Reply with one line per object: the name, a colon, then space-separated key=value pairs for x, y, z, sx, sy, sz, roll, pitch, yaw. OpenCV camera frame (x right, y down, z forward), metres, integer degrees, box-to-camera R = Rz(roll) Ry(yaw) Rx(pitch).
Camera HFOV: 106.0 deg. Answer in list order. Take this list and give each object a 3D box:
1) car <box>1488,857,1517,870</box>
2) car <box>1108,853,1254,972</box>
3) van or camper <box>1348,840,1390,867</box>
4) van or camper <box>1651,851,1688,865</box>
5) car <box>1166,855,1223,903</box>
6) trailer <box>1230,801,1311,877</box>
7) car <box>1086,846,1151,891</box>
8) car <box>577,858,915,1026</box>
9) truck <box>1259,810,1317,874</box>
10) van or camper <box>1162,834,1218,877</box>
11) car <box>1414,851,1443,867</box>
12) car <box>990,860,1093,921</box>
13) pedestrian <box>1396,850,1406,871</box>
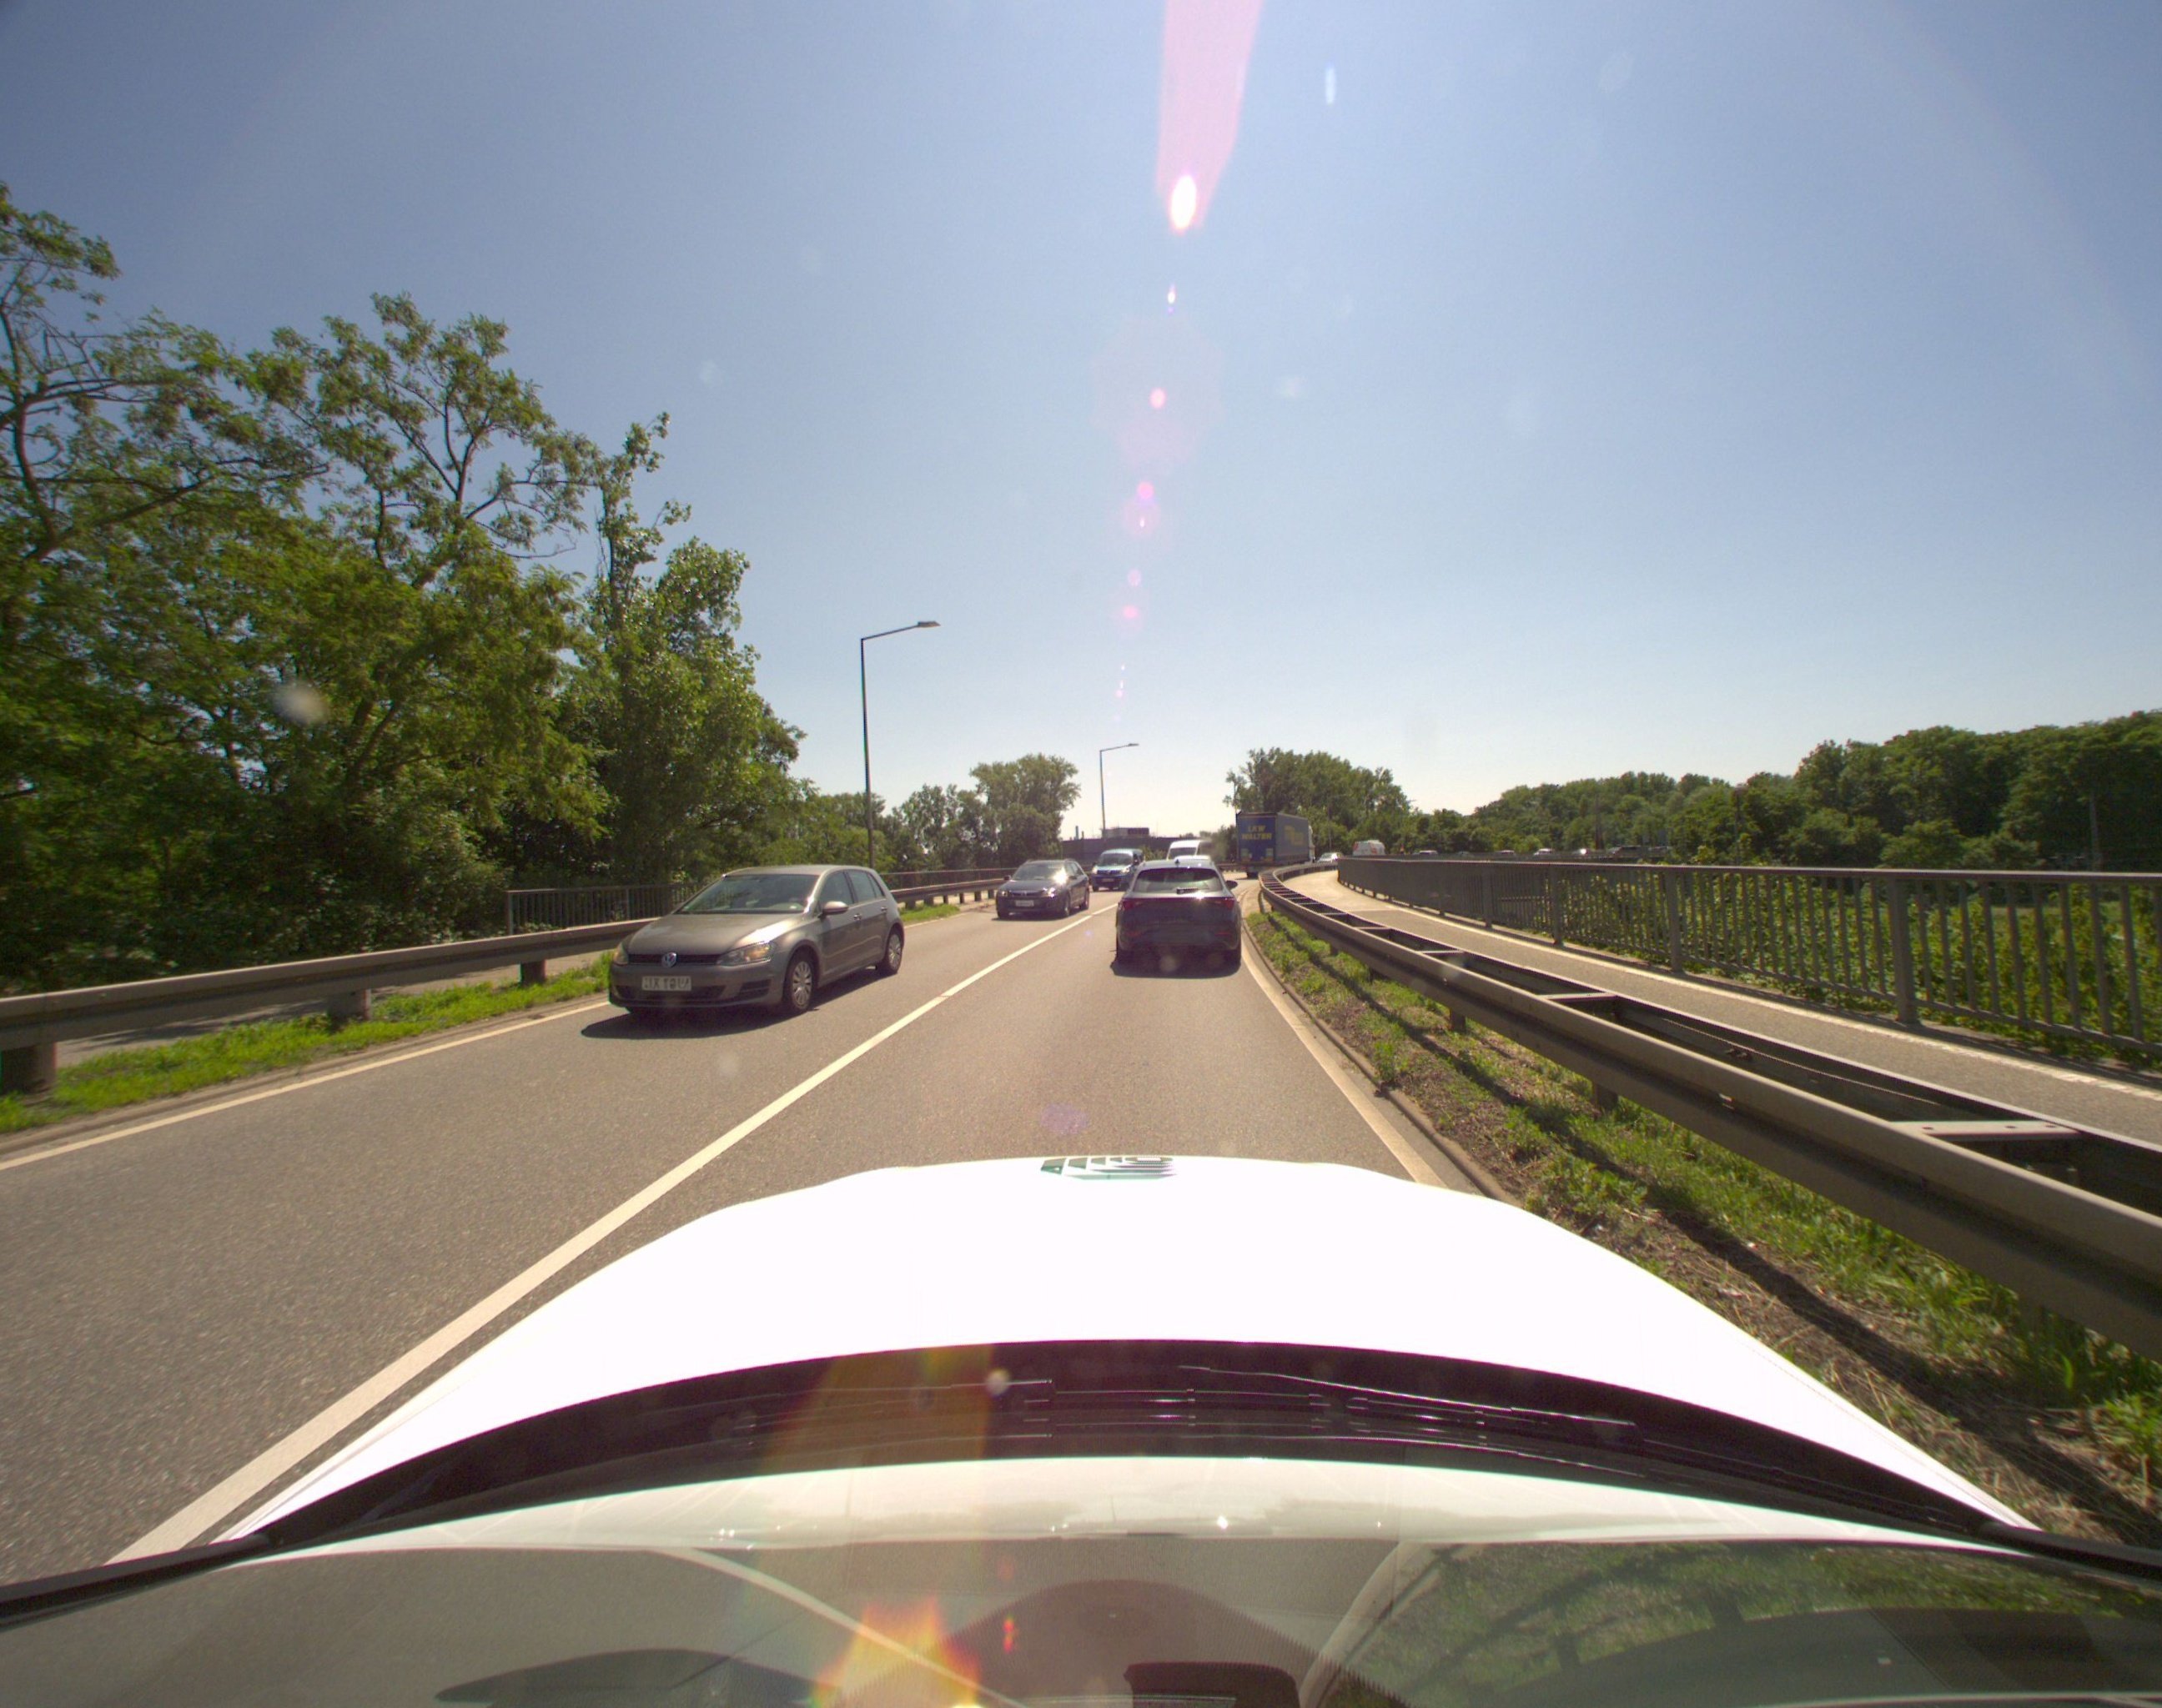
car: x=58.145 y=1.330 z=112.333 sx=4.016 sy=1.850 sz=1.874 roll=1 pitch=-1 yaw=-35
car: x=1.381 y=0.753 z=12.298 sx=1.838 sy=1.499 sz=3.761 roll=-1 pitch=0 yaw=3
van or camper: x=29.892 y=-0.046 z=84.328 sx=2.182 sy=2.711 sz=5.963 roll=-1 pitch=0 yaw=39
van or camper: x=99.961 y=0.733 z=138.331 sx=4.955 sy=2.292 sz=2.478 roll=-1 pitch=0 yaw=-17
car: x=3.786 y=0.775 z=26.743 sx=1.582 sy=1.461 sz=3.557 roll=0 pitch=0 yaw=12
trailer: x=13.245 y=-0.864 z=55.865 sx=3.106 sy=4.614 sz=13.019 roll=0 pitch=0 yaw=23
car: x=1.713 y=0.602 z=35.571 sx=1.743 sy=1.855 sz=4.294 roll=-1 pitch=0 yaw=18
car: x=-3.379 y=0.793 z=9.197 sx=1.707 sy=1.427 sz=4.115 roll=-1 pitch=0 yaw=7
truck: x=15.776 y=-0.807 z=61.748 sx=3.142 sy=4.585 sz=7.436 roll=0 pitch=-1 yaw=23
van or camper: x=6.987 y=0.047 z=51.514 sx=2.030 sy=2.537 sz=5.915 roll=-2 pitch=0 yaw=22
car: x=41.355 y=0.654 z=96.758 sx=1.871 sy=1.850 sz=4.024 roll=-1 pitch=-1 yaw=44
car: x=-0.903 y=0.882 z=21.531 sx=1.746 sy=1.442 sz=4.581 roll=0 pitch=0 yaw=10
pedestrian: x=30.695 y=0.638 z=78.011 sx=0.729 sy=1.967 sz=0.739 roll=-1 pitch=-1 yaw=36
